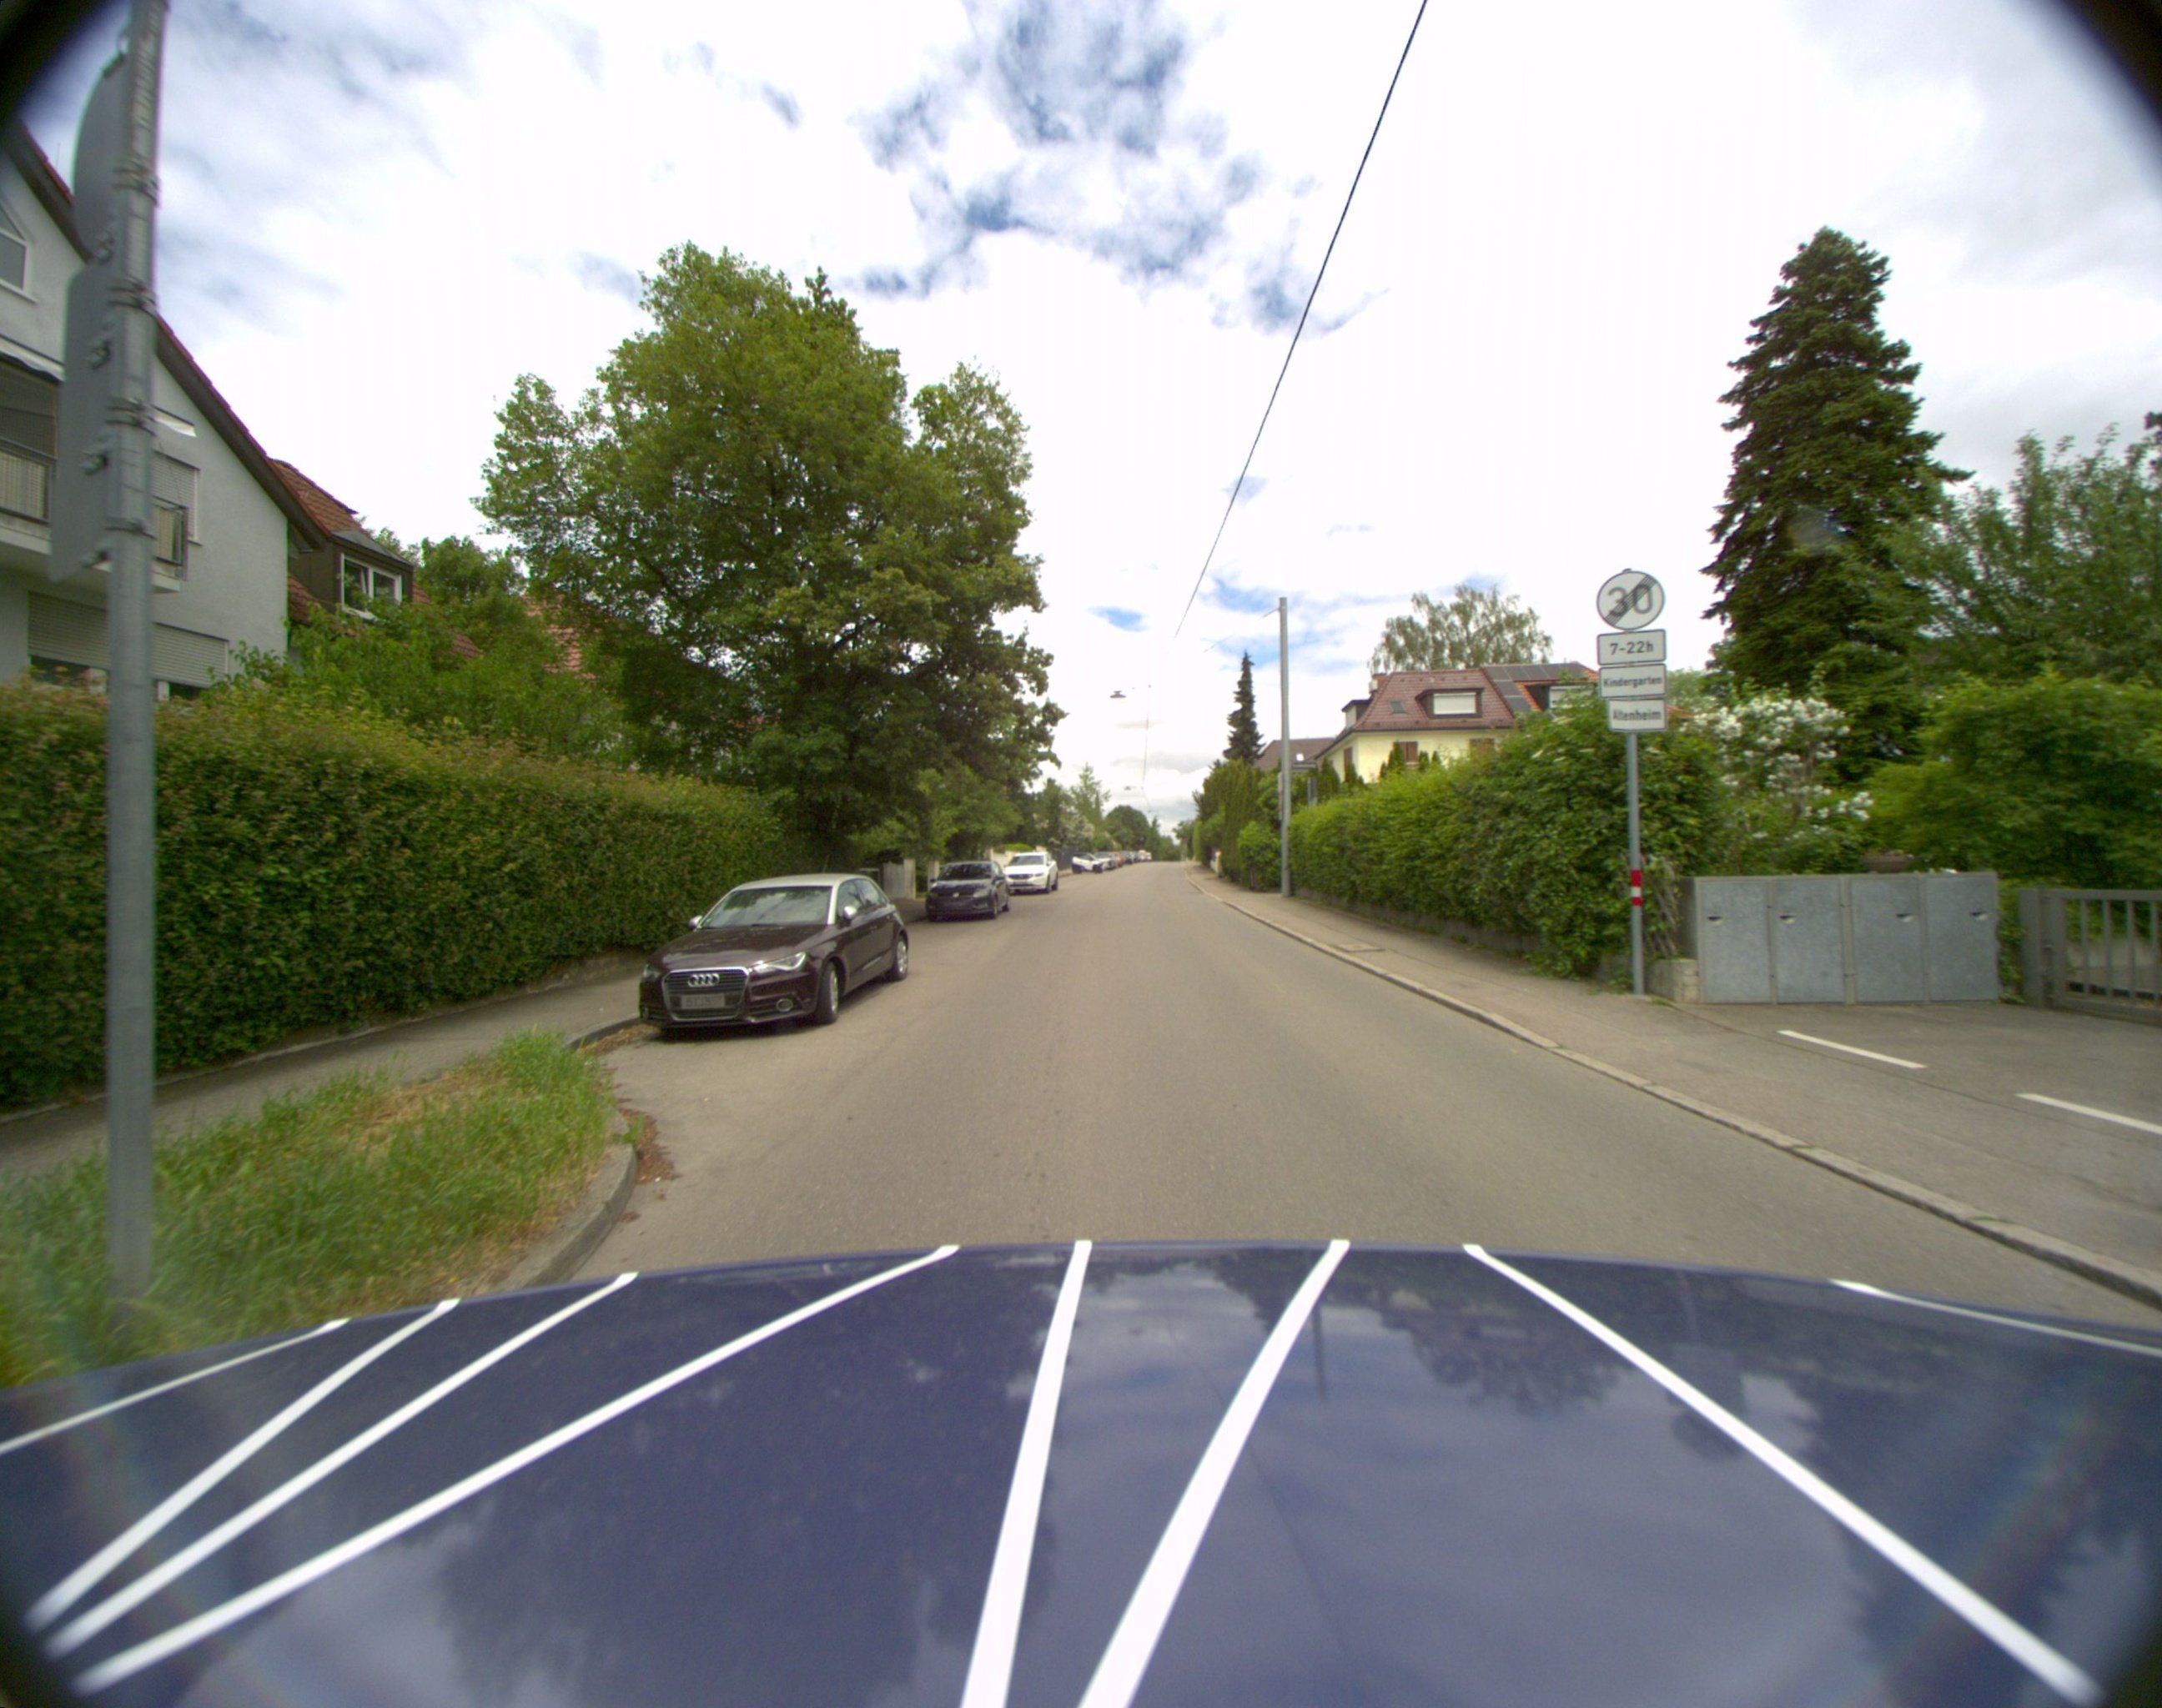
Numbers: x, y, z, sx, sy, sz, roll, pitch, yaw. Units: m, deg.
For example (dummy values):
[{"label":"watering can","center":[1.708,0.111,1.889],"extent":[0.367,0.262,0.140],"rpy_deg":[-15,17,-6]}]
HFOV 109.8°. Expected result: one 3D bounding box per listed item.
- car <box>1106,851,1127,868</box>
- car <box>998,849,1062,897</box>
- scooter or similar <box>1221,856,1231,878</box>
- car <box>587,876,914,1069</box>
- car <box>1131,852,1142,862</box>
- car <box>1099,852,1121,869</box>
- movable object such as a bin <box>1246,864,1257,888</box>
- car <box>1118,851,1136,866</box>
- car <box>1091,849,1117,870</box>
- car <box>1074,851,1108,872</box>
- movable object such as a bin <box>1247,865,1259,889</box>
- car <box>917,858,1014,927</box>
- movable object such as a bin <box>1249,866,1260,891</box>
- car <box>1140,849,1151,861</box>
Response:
[{"label":"car","center":[3.644,0.515,77.717],"extent":[1.854,1.617,4.171],"rpy_deg":[-3,1,6]},{"label":"car","center":[-1.957,0.700,30.472],"extent":[1.869,1.675,4.351],"rpy_deg":[-2,1,5]},{"label":"scooter or similar","center":[7.966,0.694,41.861],"extent":[0.392,1.164,1.270],"rpy_deg":[-2,1,6]},{"label":"car","center":[-3.175,1.051,8.226],"extent":[1.714,1.404,3.790],"rpy_deg":[-3,0,2]},{"label":"car","center":[8.525,0.430,116.337],"extent":[1.720,1.451,4.142],"rpy_deg":[-1,0,4]},{"label":"car","center":[2.748,0.582,71.273],"extent":[1.719,1.374,4.237],"rpy_deg":[-2,1,7]},{"label":"movable object such as a bin","center":[6.570,0.831,29.330],"extent":[0.337,0.888,0.476],"rpy_deg":[-2,1,8]},{"label":"car","center":[5.507,0.532,90.817],"extent":[1.954,1.617,4.377],"rpy_deg":[-3,1,5]},{"label":"car","center":[2.020,0.456,65.489],"extent":[1.833,1.614,4.494],"rpy_deg":[-2,1,7]},{"label":"car","center":[0.771,0.537,56.722],"extent":[2.291,1.515,1.319],"rpy_deg":[-1,0,12]},{"label":"movable object such as a bin","center":[6.493,0.867,28.698],"extent":[0.337,0.888,0.476],"rpy_deg":[-2,1,8]},{"label":"car","center":[-2.842,0.894,19.458],"extent":[1.713,1.479,3.790],"rpy_deg":[-2,1,2]},{"label":"movable object such as a bin","center":[6.430,0.913,28.181],"extent":[0.337,0.888,0.476],"rpy_deg":[-2,1,8]},{"label":"car","center":[12.734,0.144,149.981],"extent":[1.853,2.211,5.370],"rpy_deg":[-3,0,6]}]
